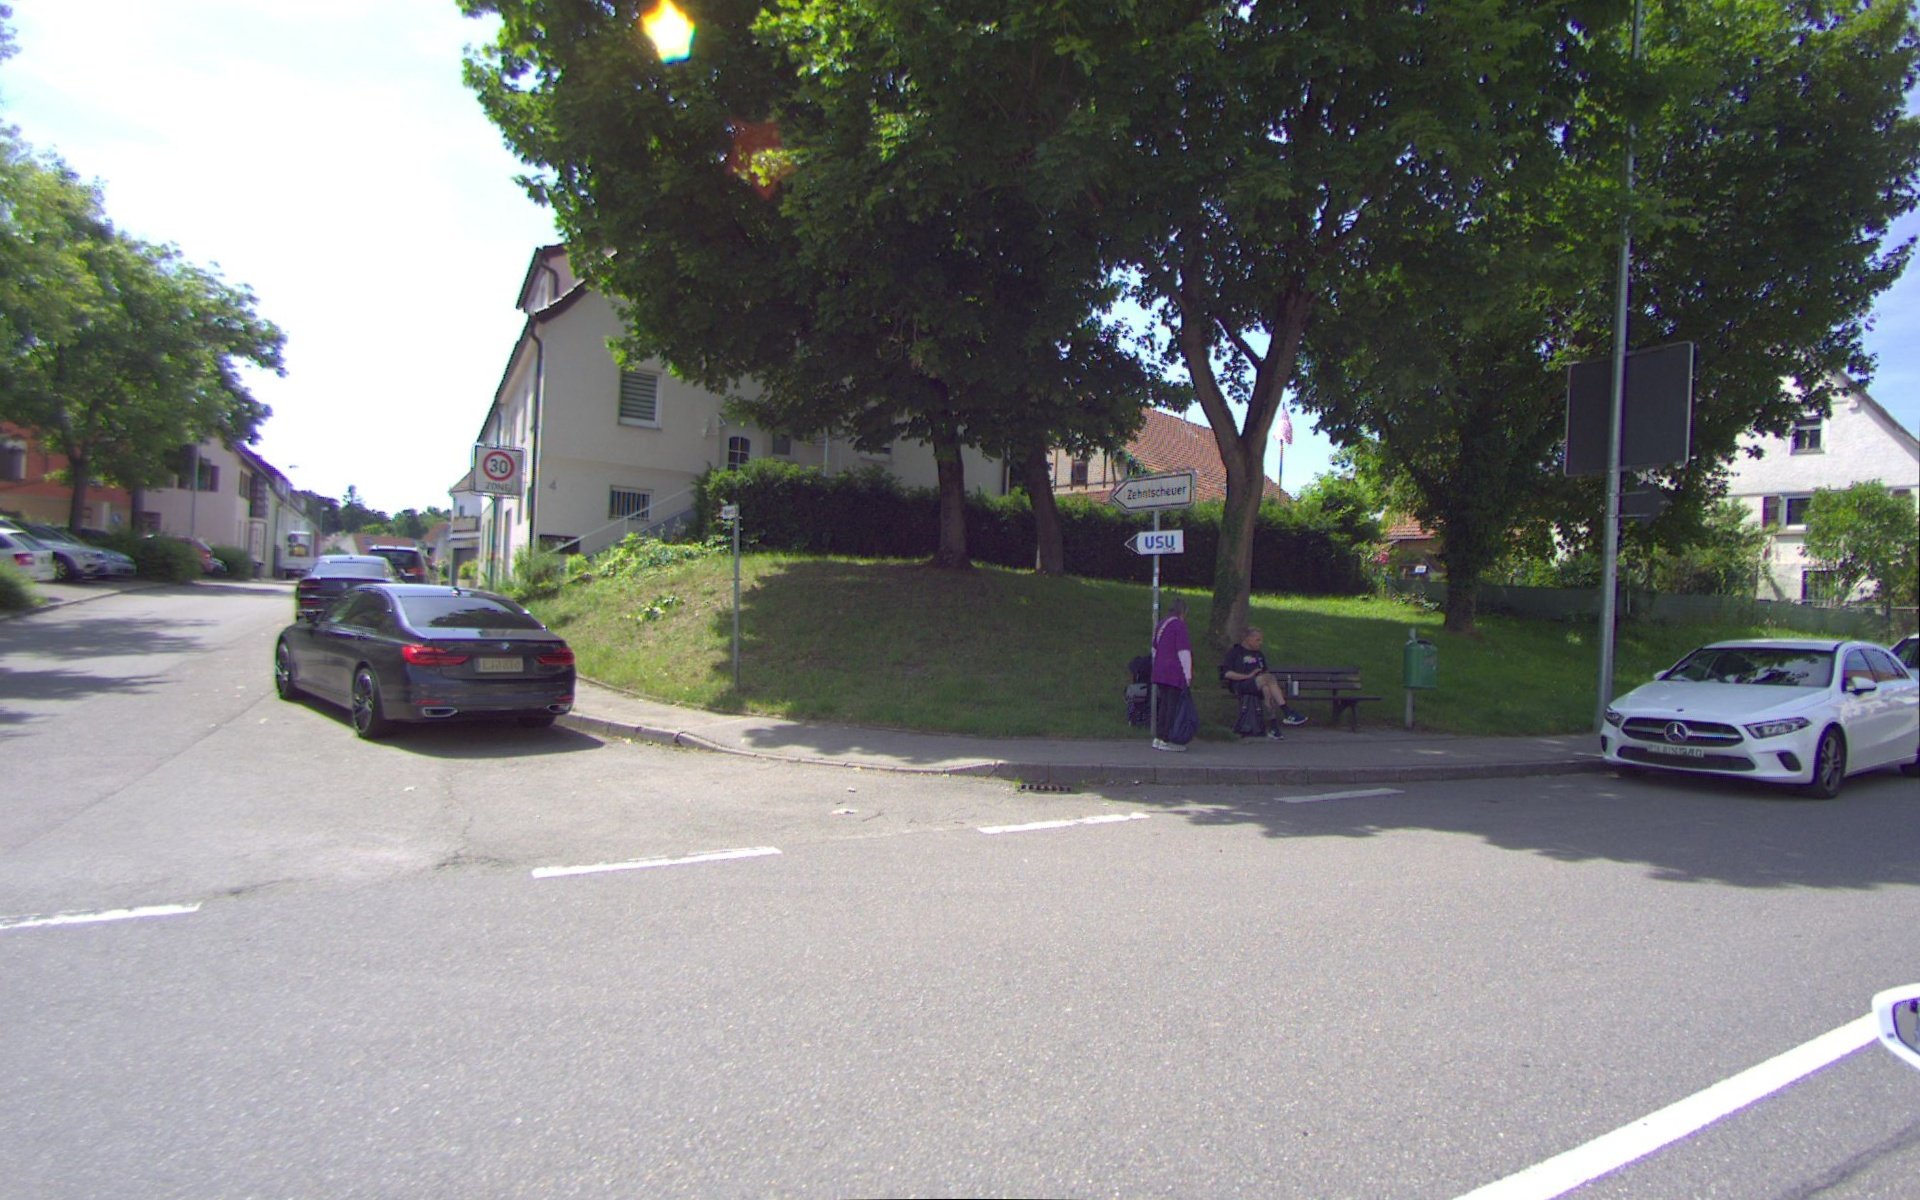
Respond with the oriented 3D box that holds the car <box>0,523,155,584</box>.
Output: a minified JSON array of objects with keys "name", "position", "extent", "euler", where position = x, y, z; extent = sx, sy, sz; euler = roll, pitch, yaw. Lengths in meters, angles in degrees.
[{"name":"car","position":[-25.840,-1.316,28.876],"extent":[3.953,1.600,1.799],"euler":[1,2,-30]}]

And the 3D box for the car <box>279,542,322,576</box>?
[{"name":"car","position":[-41.690,-2.608,63.590],"extent":[1.977,1.971,4.322],"euler":[3,1,-31]}]

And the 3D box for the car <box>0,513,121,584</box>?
[{"name":"car","position":[-24.933,-1.378,26.514],"extent":[3.953,1.733,1.984],"euler":[1,1,-30]}]

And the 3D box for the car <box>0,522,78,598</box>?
[{"name":"car","position":[-21.865,-0.912,21.526],"extent":[4.099,1.588,1.983],"euler":[1,1,-31]}]

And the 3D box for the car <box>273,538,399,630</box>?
[{"name":"car","position":[-13.036,-0.405,21.204],"extent":[1.884,1.707,3.972],"euler":[1,4,-27]}]

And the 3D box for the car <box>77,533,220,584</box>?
[{"name":"car","position":[-30.592,-1.543,38.017],"extent":[3.900,1.844,1.824],"euler":[-1,2,-30]}]

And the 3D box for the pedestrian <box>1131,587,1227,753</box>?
[{"name":"pedestrian","position":[2.285,0.701,10.464],"extent":[0.721,1.638,0.626],"euler":[2,1,40]}]

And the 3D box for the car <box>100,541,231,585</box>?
[{"name":"car","position":[-32.179,-1.495,40.832],"extent":[3.866,1.690,1.877],"euler":[-1,1,-29]}]

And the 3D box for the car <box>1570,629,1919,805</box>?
[{"name":"car","position":[8.358,1.052,10.392],"extent":[4.314,1.486,1.746],"euler":[1,-2,-32]}]

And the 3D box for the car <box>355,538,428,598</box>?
[{"name":"car","position":[-17.119,-1.012,30.377],"extent":[1.751,1.669,3.971],"euler":[0,3,-27]}]

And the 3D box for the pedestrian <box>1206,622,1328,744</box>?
[{"name":"pedestrian","position":[3.544,0.930,11.674],"extent":[0.638,1.286,1.232],"euler":[2,1,-26]}]

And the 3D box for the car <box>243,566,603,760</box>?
[{"name":"car","position":[-6.164,0.532,11.249],"extent":[4.720,1.499,1.990],"euler":[5,2,41]}]

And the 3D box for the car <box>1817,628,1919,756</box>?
[{"name":"car","position":[13.351,1.149,13.304],"extent":[4.172,1.547,1.764],"euler":[1,-2,-30]}]
